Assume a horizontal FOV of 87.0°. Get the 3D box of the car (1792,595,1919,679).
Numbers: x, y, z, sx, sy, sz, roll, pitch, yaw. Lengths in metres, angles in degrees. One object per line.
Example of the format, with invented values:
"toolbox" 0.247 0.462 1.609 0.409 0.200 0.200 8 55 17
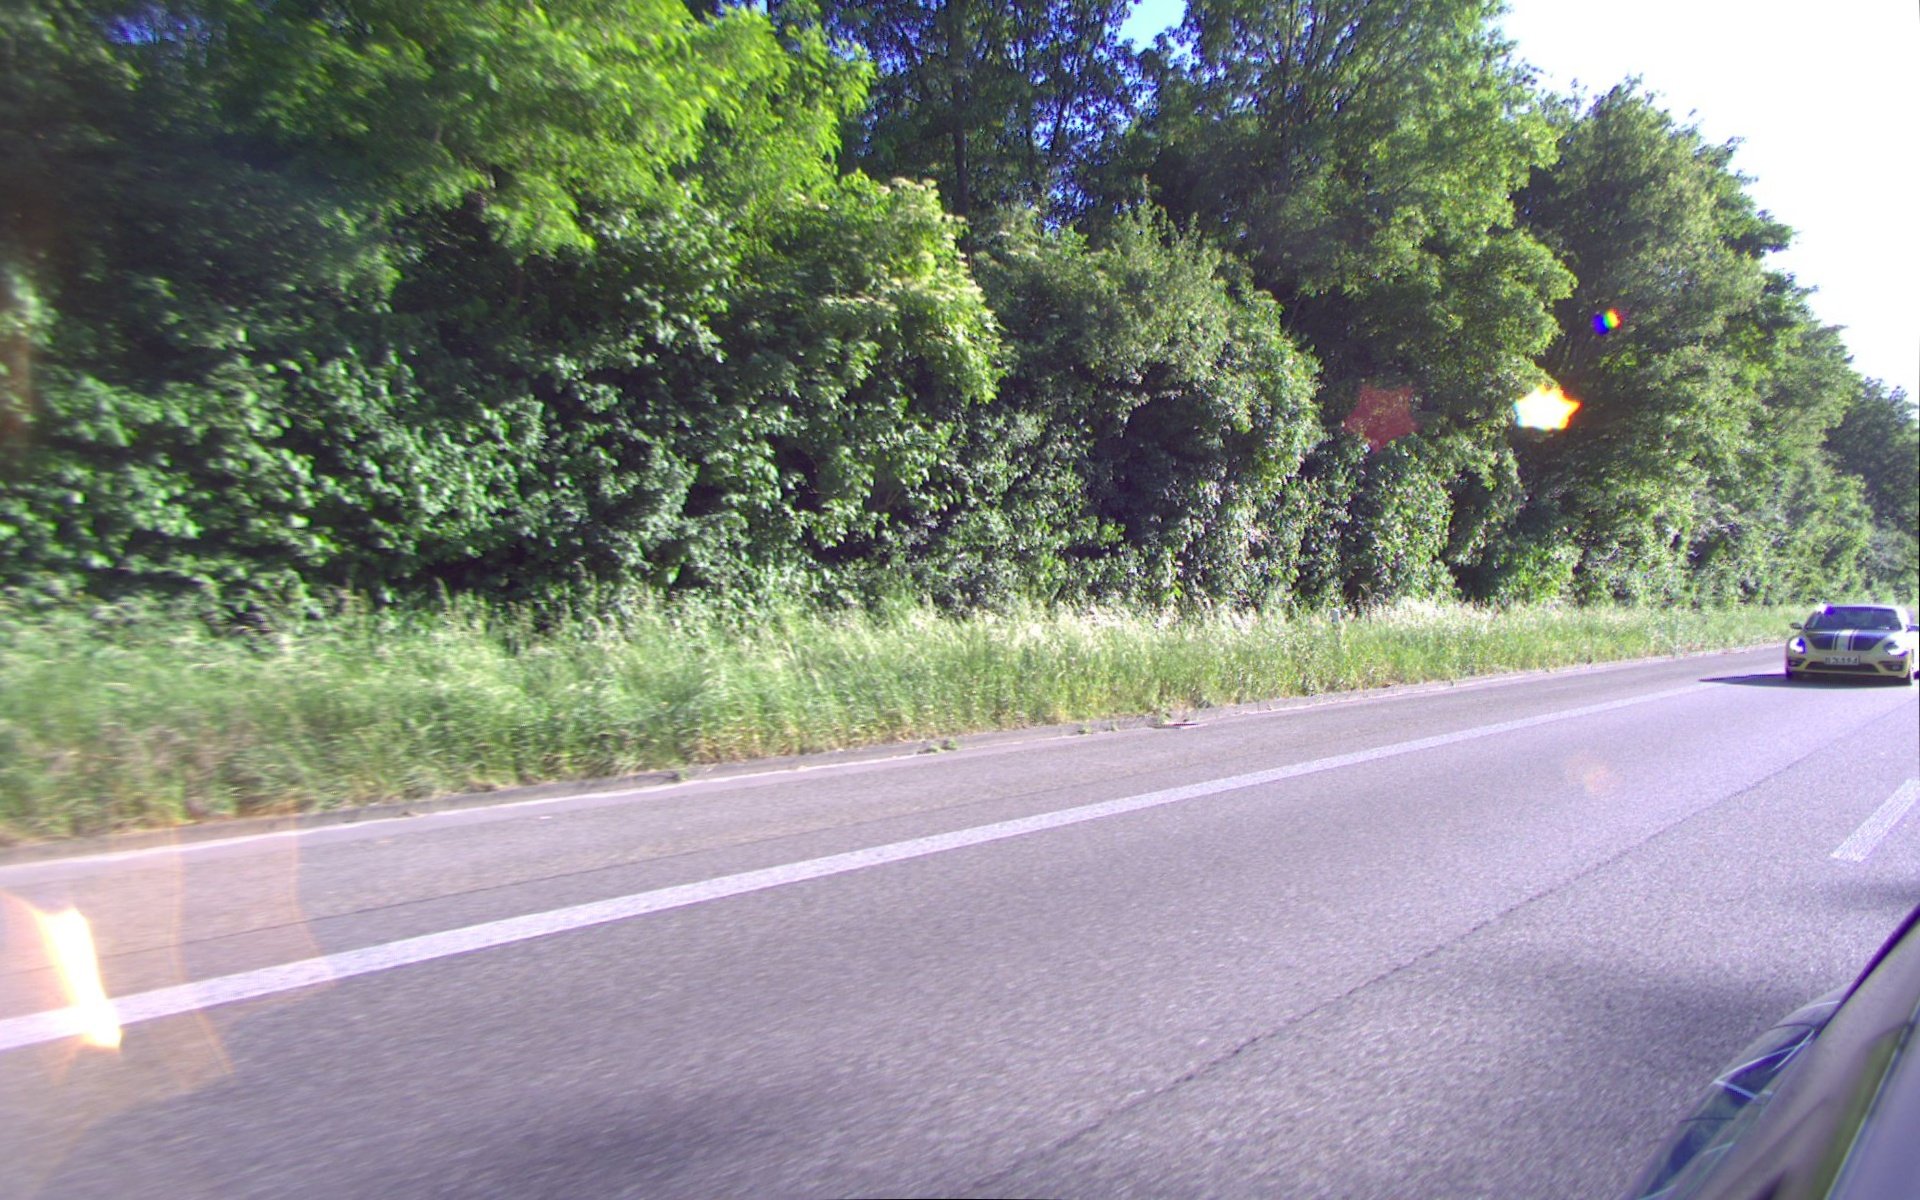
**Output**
"car" 17.599 0.636 19.573 3.811 1.467 1.792 0 0 -42
